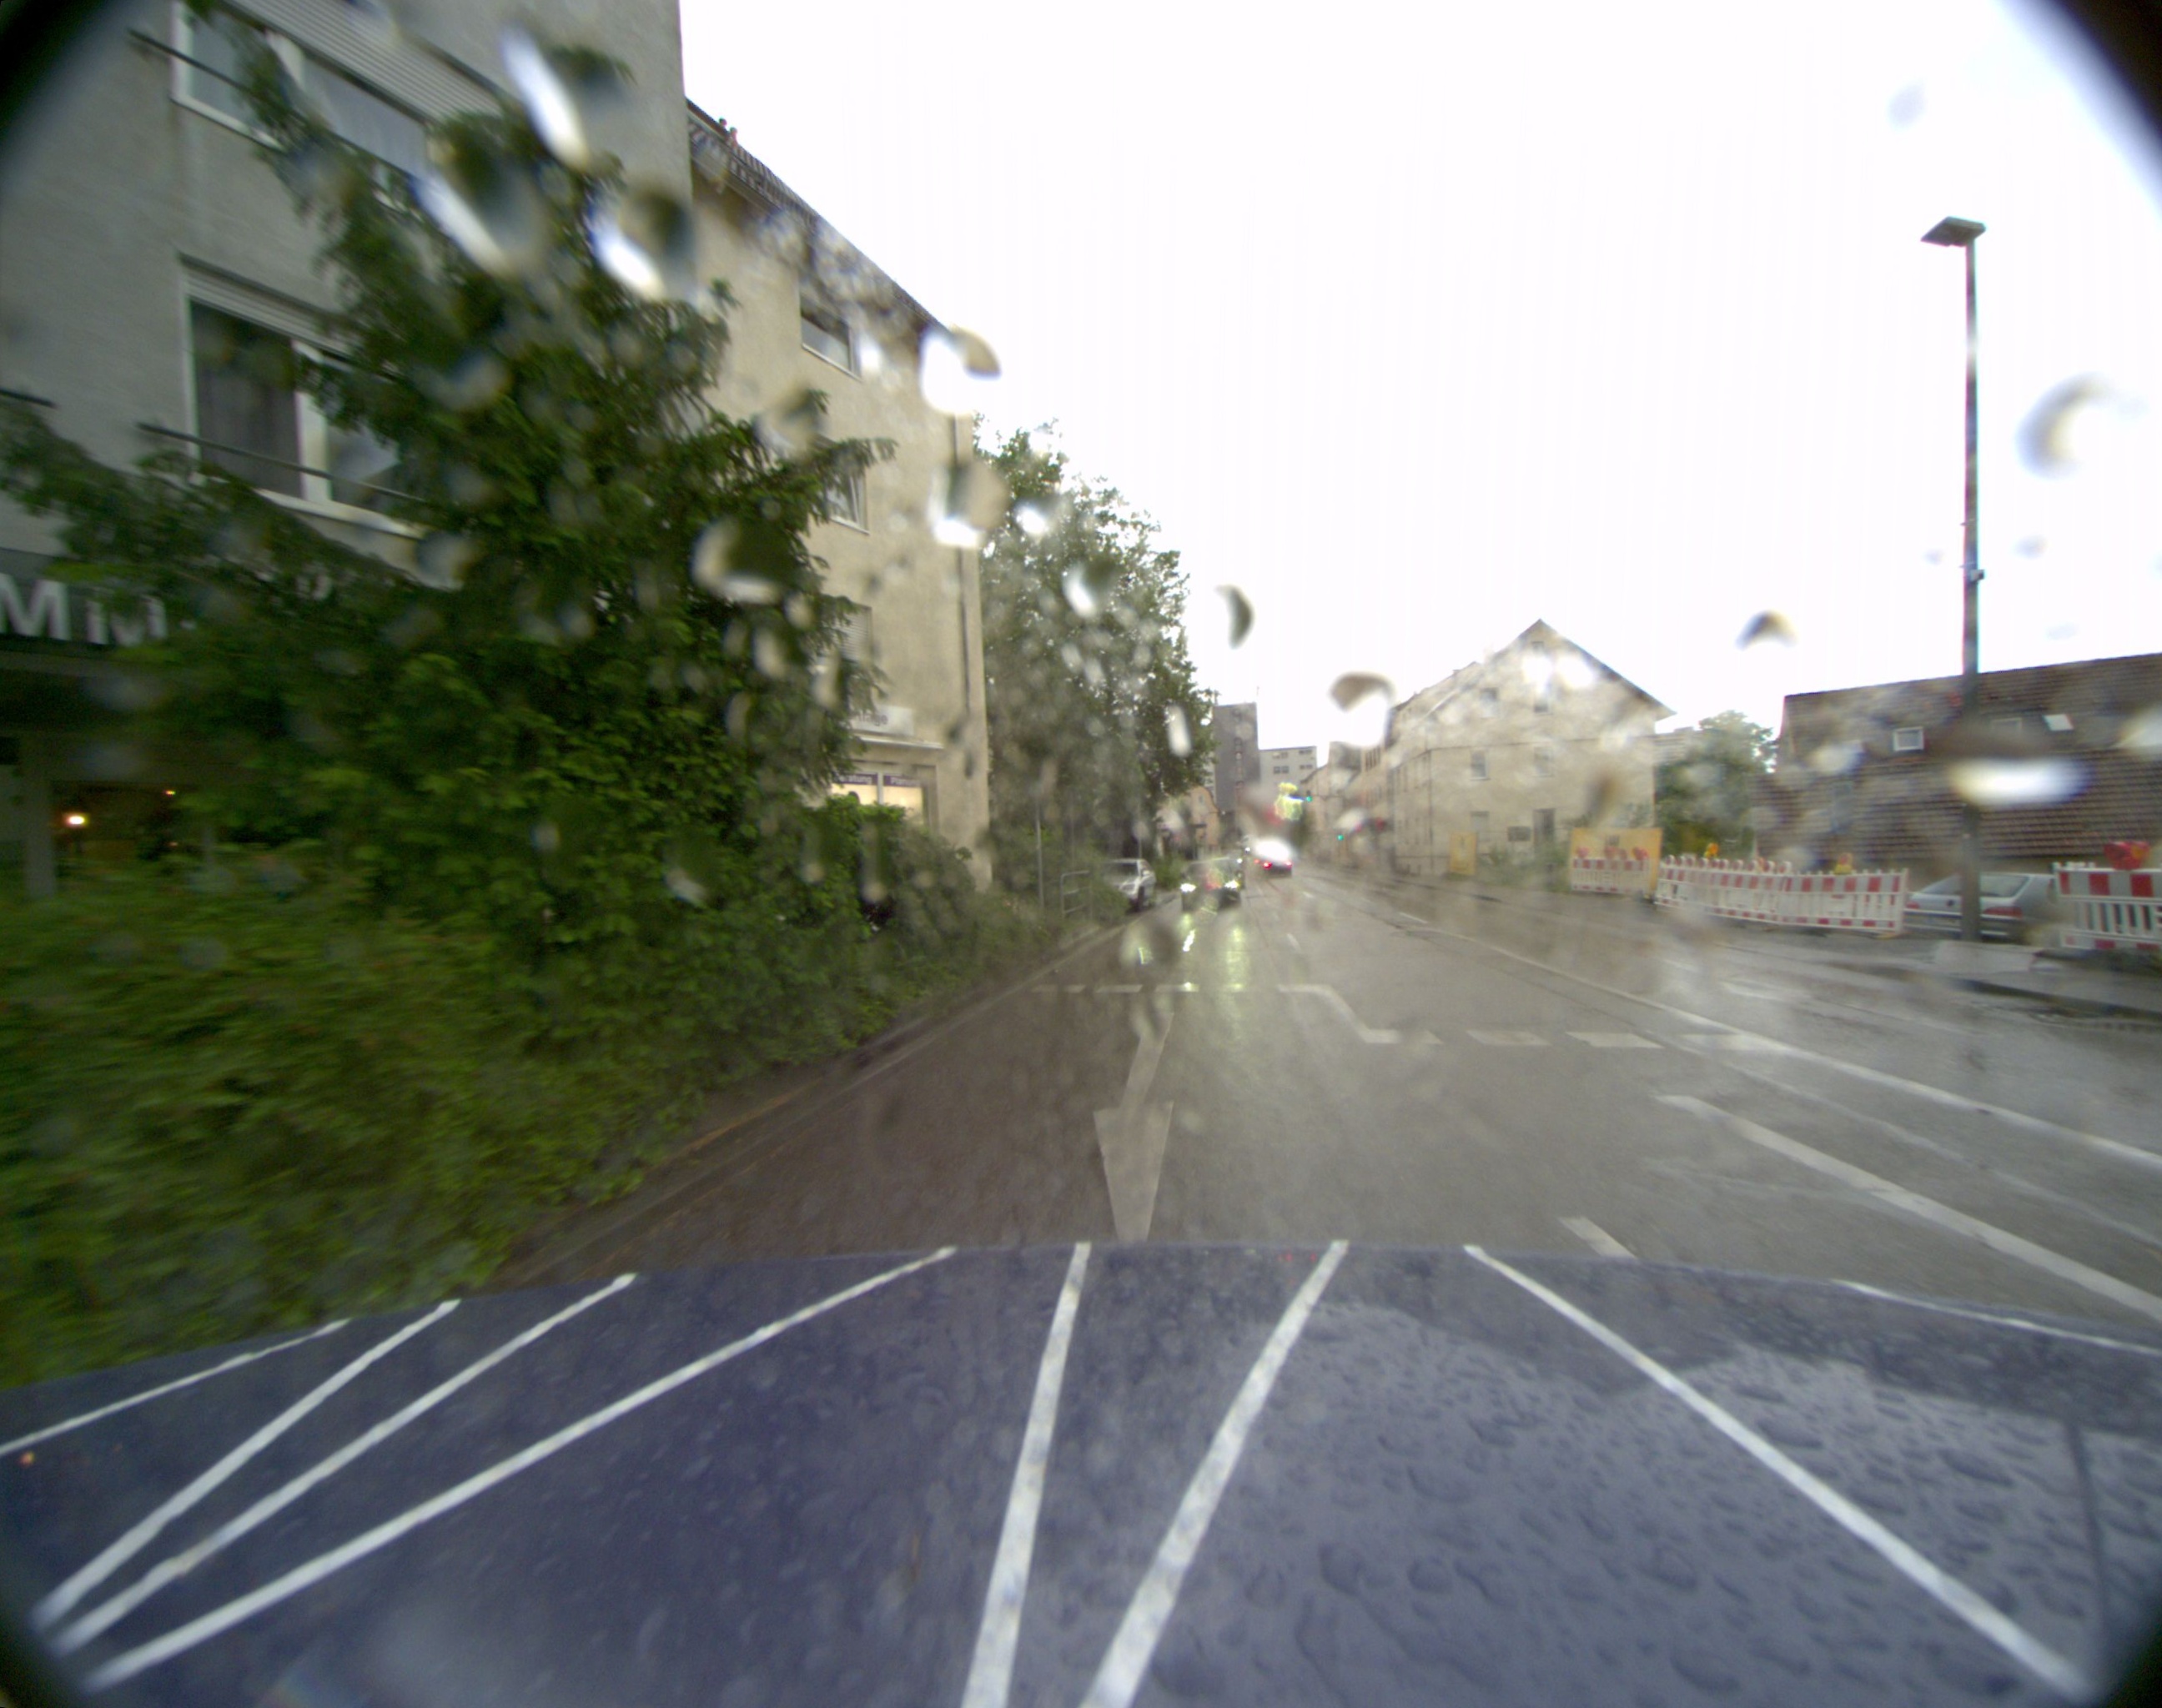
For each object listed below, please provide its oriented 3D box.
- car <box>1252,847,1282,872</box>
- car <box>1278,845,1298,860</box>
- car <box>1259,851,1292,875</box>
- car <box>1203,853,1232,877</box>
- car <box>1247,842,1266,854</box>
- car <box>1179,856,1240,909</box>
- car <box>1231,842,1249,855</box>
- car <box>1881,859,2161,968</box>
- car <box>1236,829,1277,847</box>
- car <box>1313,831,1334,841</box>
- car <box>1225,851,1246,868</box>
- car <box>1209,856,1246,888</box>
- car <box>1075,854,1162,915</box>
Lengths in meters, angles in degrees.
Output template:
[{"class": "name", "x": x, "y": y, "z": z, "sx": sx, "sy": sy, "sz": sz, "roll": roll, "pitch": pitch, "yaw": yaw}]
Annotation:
[{"class": "car", "x": 13.304, "y": 0.355, "z": 54.501, "sx": 1.819, "sy": 1.635, "sz": 4.279, "roll": -3, "pitch": -1, "yaw": 10}, {"class": "car", "x": 22.519, "y": -0.150, "z": 82.770, "sx": 1.819, "sy": 1.562, "sz": 4.279, "roll": -1, "pitch": 0, "yaw": 11}, {"class": "car", "x": 12.260, "y": 0.570, "z": 47.973, "sx": 1.710, "sy": 1.375, "sz": 3.672, "roll": -3, "pitch": 0, "yaw": 11}, {"class": "car", "x": 8.763, "y": 0.689, "z": 49.153, "sx": 1.685, "sy": 1.413, "sz": 4.002, "roll": -3, "pitch": 0, "yaw": 9}, {"class": "car", "x": 24.912, "y": -0.909, "z": 107.733, "sx": 1.547, "sy": 1.525, "sz": 3.695, "roll": -3, "pitch": 0, "yaw": 29}, {"class": "car", "x": 4.380, "y": 0.898, "z": 25.727, "sx": 1.819, "sy": 1.562, "sz": 4.279, "roll": -3, "pitch": 0, "yaw": 10}, {"class": "car", "x": 18.493, "y": -0.639, "z": 88.355, "sx": 1.685, "sy": 1.452, "sz": 4.004, "roll": -3, "pitch": 0, "yaw": 15}, {"class": "car", "x": 15.191, "y": 0.936, "z": 11.861, "sx": 3.507, "sy": 1.382, "sz": 1.652, "roll": 5, "pitch": -1, "yaw": 2}, {"class": "car", "x": 29.161, "y": -2.583, "z": 126.167, "sx": 6.412, "sy": 2.505, "sz": 2.678, "roll": -4, "pitch": 0, "yaw": 11}, {"class": "car", "x": 39.588, "y": -2.898, "z": 124.060, "sx": 1.612, "sy": 1.495, "sz": 3.724, "roll": -4, "pitch": 0, "yaw": 45}, {"class": "car", "x": 14.112, "y": 0.477, "z": 69.134, "sx": 1.685, "sy": 1.452, "sz": 4.004, "roll": -3, "pitch": 0, "yaw": 13}, {"class": "car", "x": 7.093, "y": 0.816, "z": 36.655, "sx": 1.640, "sy": 1.424, "sz": 3.809, "roll": -1, "pitch": 0, "yaw": 11}, {"class": "car", "x": 1.353, "y": 0.919, "z": 25.068, "sx": 1.933, "sy": 1.770, "sz": 4.738, "roll": -1, "pitch": 0, "yaw": 14}]
